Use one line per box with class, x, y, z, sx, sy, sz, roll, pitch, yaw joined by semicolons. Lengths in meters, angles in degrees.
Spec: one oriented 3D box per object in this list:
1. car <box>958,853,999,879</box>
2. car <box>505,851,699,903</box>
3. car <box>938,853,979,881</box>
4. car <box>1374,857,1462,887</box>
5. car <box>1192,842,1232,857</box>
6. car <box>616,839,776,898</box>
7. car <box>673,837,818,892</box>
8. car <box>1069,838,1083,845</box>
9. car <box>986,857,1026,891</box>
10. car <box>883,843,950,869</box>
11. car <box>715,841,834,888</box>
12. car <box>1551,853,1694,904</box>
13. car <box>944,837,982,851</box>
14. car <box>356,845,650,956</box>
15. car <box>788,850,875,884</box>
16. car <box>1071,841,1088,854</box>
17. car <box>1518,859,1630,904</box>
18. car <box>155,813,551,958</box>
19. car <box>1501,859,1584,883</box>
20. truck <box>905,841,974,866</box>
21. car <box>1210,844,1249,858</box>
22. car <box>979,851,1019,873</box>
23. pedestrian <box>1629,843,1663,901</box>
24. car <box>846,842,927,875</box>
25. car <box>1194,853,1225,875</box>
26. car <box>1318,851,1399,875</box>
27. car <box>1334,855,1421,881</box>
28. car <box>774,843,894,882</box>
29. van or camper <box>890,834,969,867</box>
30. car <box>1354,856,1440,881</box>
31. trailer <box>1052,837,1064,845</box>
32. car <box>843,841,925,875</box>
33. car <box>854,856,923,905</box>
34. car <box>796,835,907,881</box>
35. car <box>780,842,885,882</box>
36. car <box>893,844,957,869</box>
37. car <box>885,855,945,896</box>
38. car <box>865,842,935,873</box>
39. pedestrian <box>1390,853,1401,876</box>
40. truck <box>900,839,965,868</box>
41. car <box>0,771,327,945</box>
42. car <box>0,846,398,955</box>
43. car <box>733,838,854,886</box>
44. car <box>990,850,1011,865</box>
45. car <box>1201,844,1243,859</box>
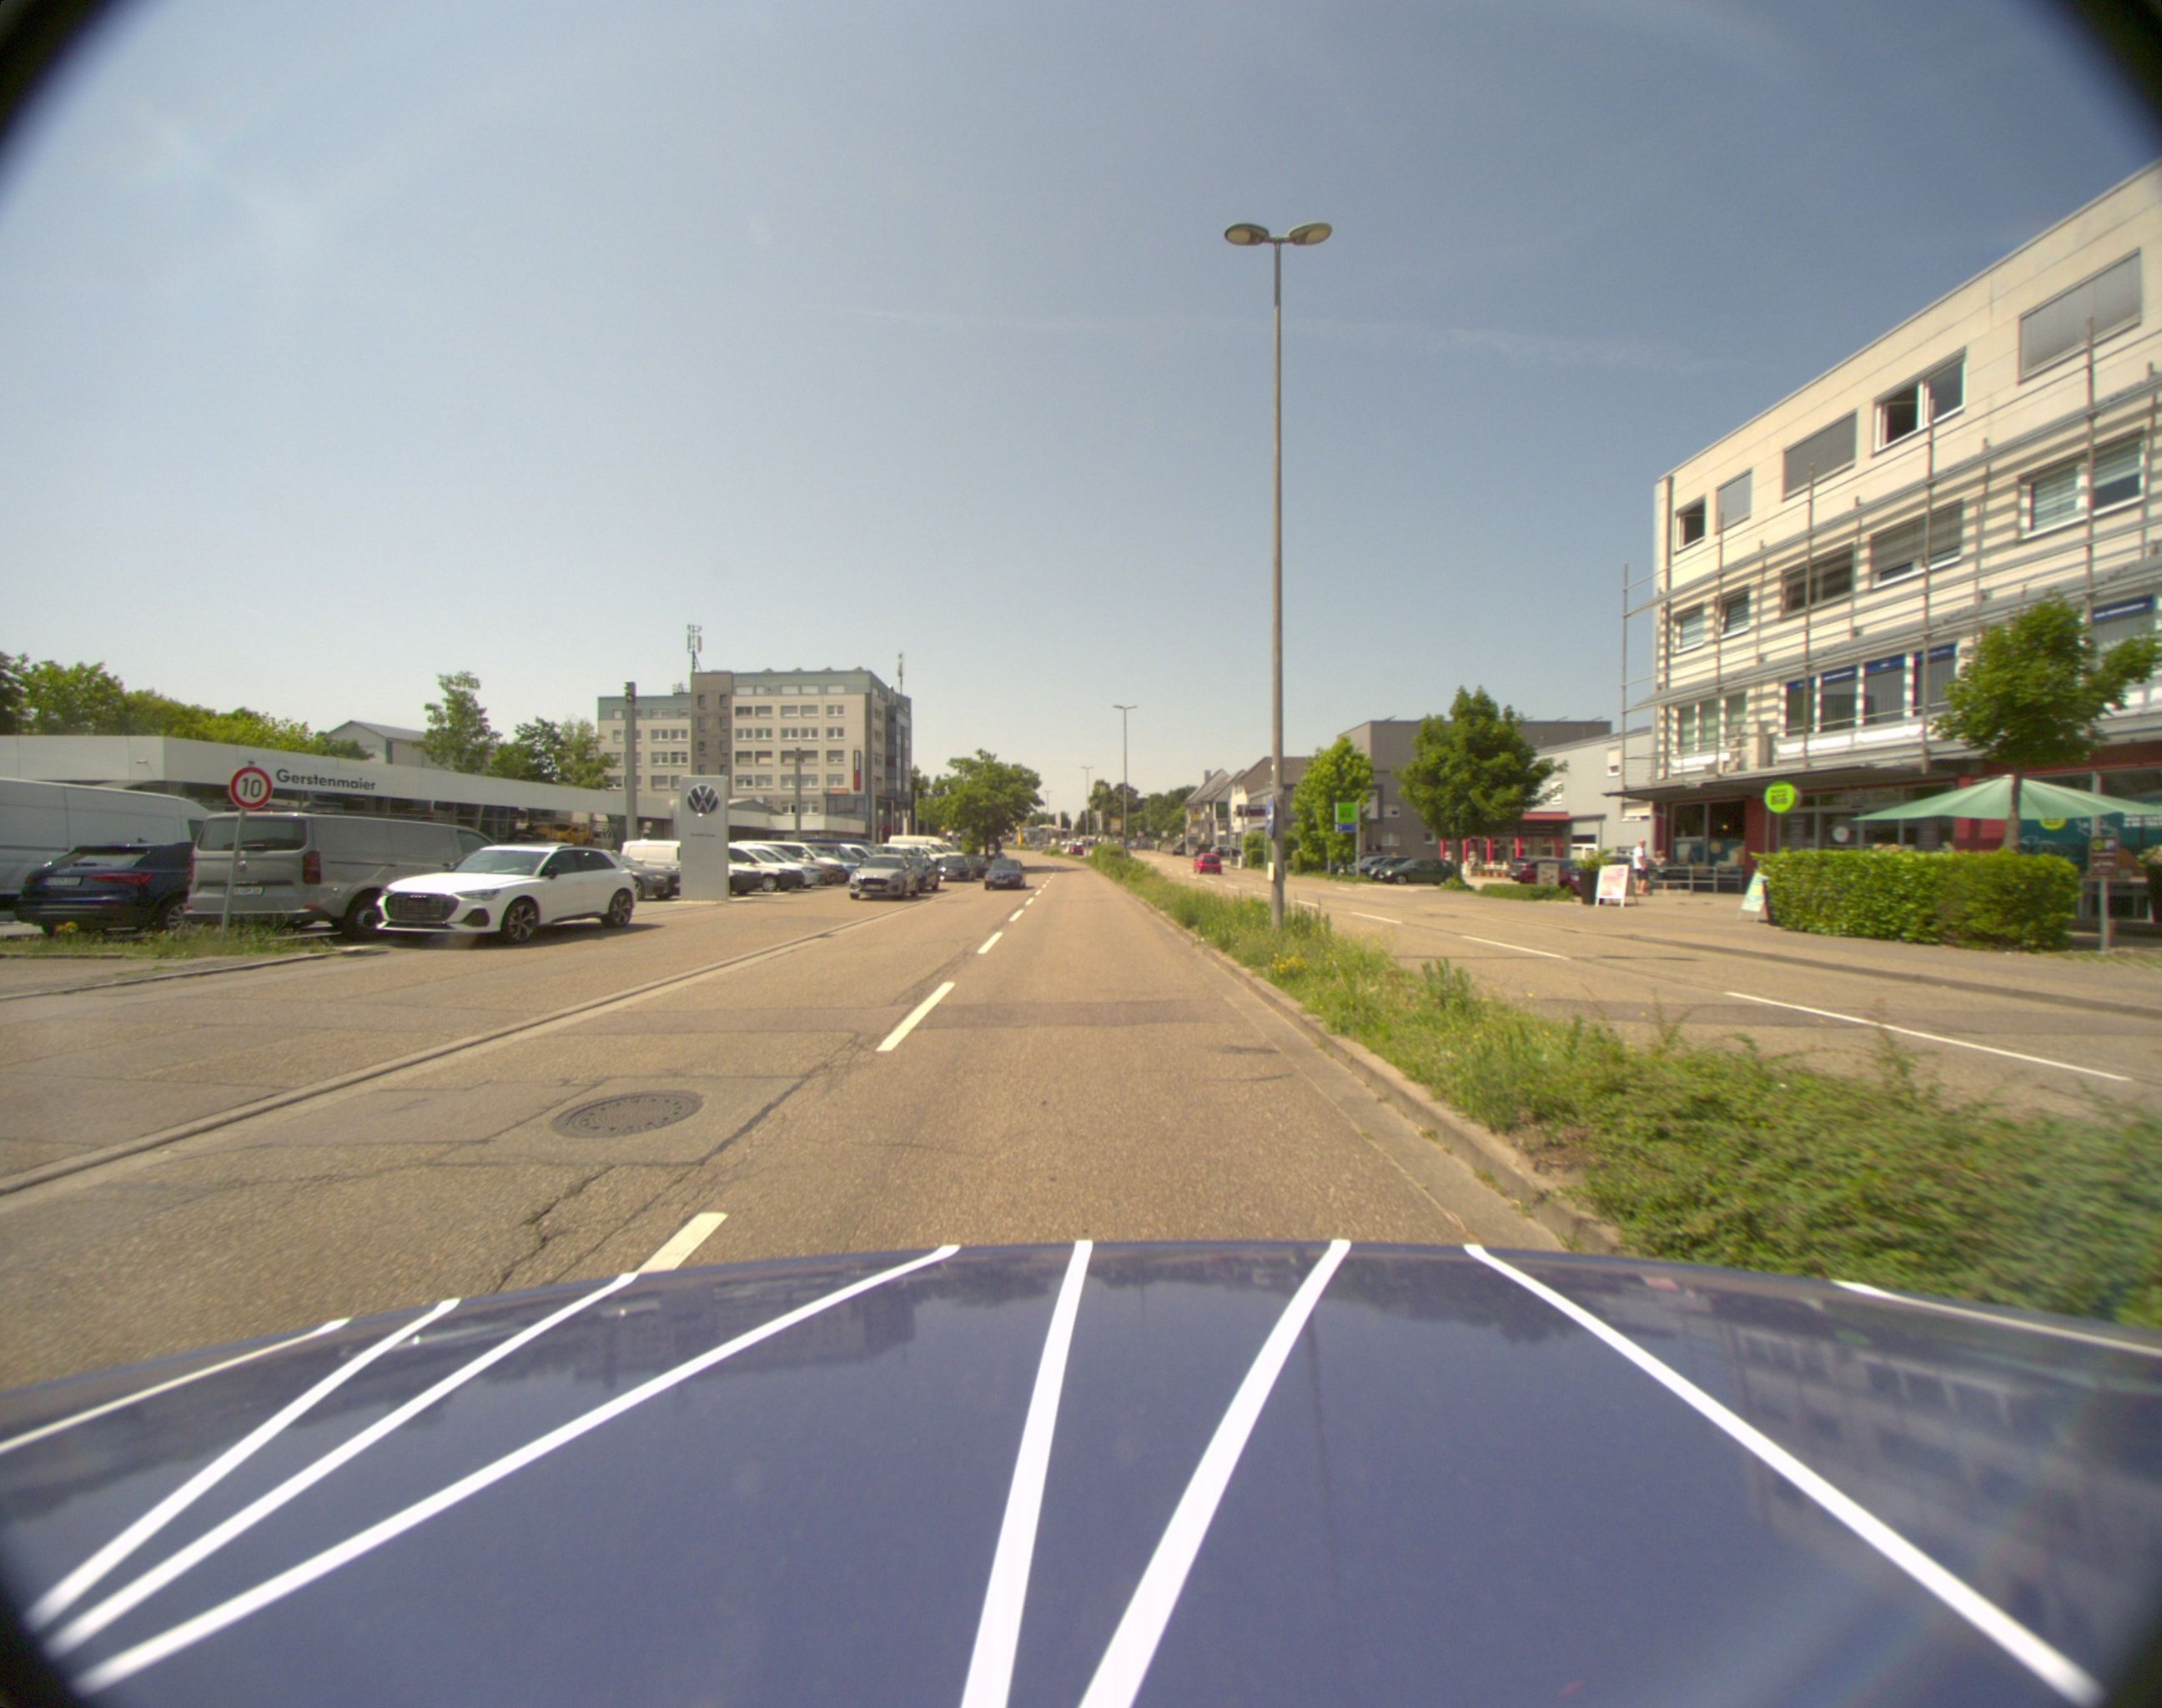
car;-6.563;0.738;49.313;1.966;1.521;5.160;2;1;-1
car;-14.295;0.668;22.868;4.545;1.437;2.000;1;0;0
car;-6.960;0.678;43.632;1.860;1.472;5.153;0;1;-3
car;17.028;0.901;38.503;3.667;1.356;1.780;1;1;0
car;16.403;-0.556;95.136;4.617;1.618;1.853;-3;2;-1
car;-12.940;0.458;25.741;4.424;1.872;1.908;1;1;-1
car;-12.526;0.406;28.608;4.569;1.877;1.856;2;0;-4
car;-1.178;-2.778;172.133;1.914;1.532;3.967;0;3;21
car;-3.434;0.868;34.977;1.698;1.365;3.998;-1;1;-5
car;-13.298;0.165;61.622;4.925;1.960;2.141;1;1;0
car;-12.629;0.412;31.517;4.161;1.771;1.880;1;3;-1
car;20.958;0.871;29.735;1.764;1.724;5.165;2;0;-1
car;-15.879;-1.316;102.271;4.746;1.704;1.995;-2;3;-26
car;-9.738;0.679;13.382;1.671;1.586;4.612;1;0;-1
car;-12.125;0.631;37.032;3.638;1.561;1.716;-1;1;5
car;-0.244;-0.924;112.251;1.914;1.741;4.755;-1;2;-6
car;18.517;0.994;28.759;1.663;1.459;3.797;2;0;-1
car;-12.190;0.422;13.427;1.999;2.011;5.159;-2;1;-1
car;28.752;1.049;47.404;3.984;1.459;1.963;0;1;-6
truck;-13.820;-0.058;74.506;6.261;2.323;2.368;1;0;1
car;17.469;-0.340;89.542;4.068;1.512;1.999;0;2;-4
car;-6.146;0.554;56.525;1.689;1.427;4.429;-2;2;-22
pedestrian;18.140;0.573;24.385;0.677;1.855;0.498;1;1;0
car;-13.500;0.305;52.910;5.078;2.085;2.039;2;1;-1
car;9.189;0.689;54.481;1.635;1.416;3.450;1;1;0
car;16.959;0.551;46.588;4.160;1.334;2.042;1;0;-3
car;17.018;0.807;43.779;4.235;1.341;1.980;1;1;-1
car;-13.651;0.440;42.279;5.907;2.002;2.259;-1;1;2
van or camper;-13.921;-0.305;69.951;6.814;2.881;2.275;1;1;-1
car;17.129;0.768;41.285;3.848;1.223;1.859;1;1;-1
trailer;-5.326;-3.038;177.288;1.689;1.694;2.438;0;3;28
car;-13.020;0.244;50.466;4.912;2.102;2.129;2;0;-1
car;-6.720;0.869;26.914;1.737;1.543;4.178;-1;0;-5
car;-13.600;0.210;45.336;5.857;2.510;2.204;-1;2;2
car;-12.914;0.447;39.631;4.799;1.972;2.004;-1;-1;0
car;-13.143;0.215;64.328;4.961;2.101;2.159;0;1;-2
car;-6.957;0.847;32.288;1.718;1.539;4.788;1;1;-2
car;-13.277;0.244;55.979;4.521;2.002;2.197;3;2;0
pedestrian;22.889;0.738;55.310;0.547;1.648;0.624;-1;3;-2
truck;-13.116;-0.053;67.126;5.260;2.422;2.111;1;1;1
car;-17.640;0.039;13.112;2.262;2.660;7.017;1;0;0
car;-14.743;0.660;13.115;1.748;1.505;4.600;-2;0;-1
car;-12.905;0.361;34.338;4.653;2.002;1.959;2;0;-2
car;-8.300;0.362;78.877;1.802;1.398;4.318;-1;1;-2
car;17.135;-0.331;92.210;4.620;1.488;1.751;-4;2;-9
